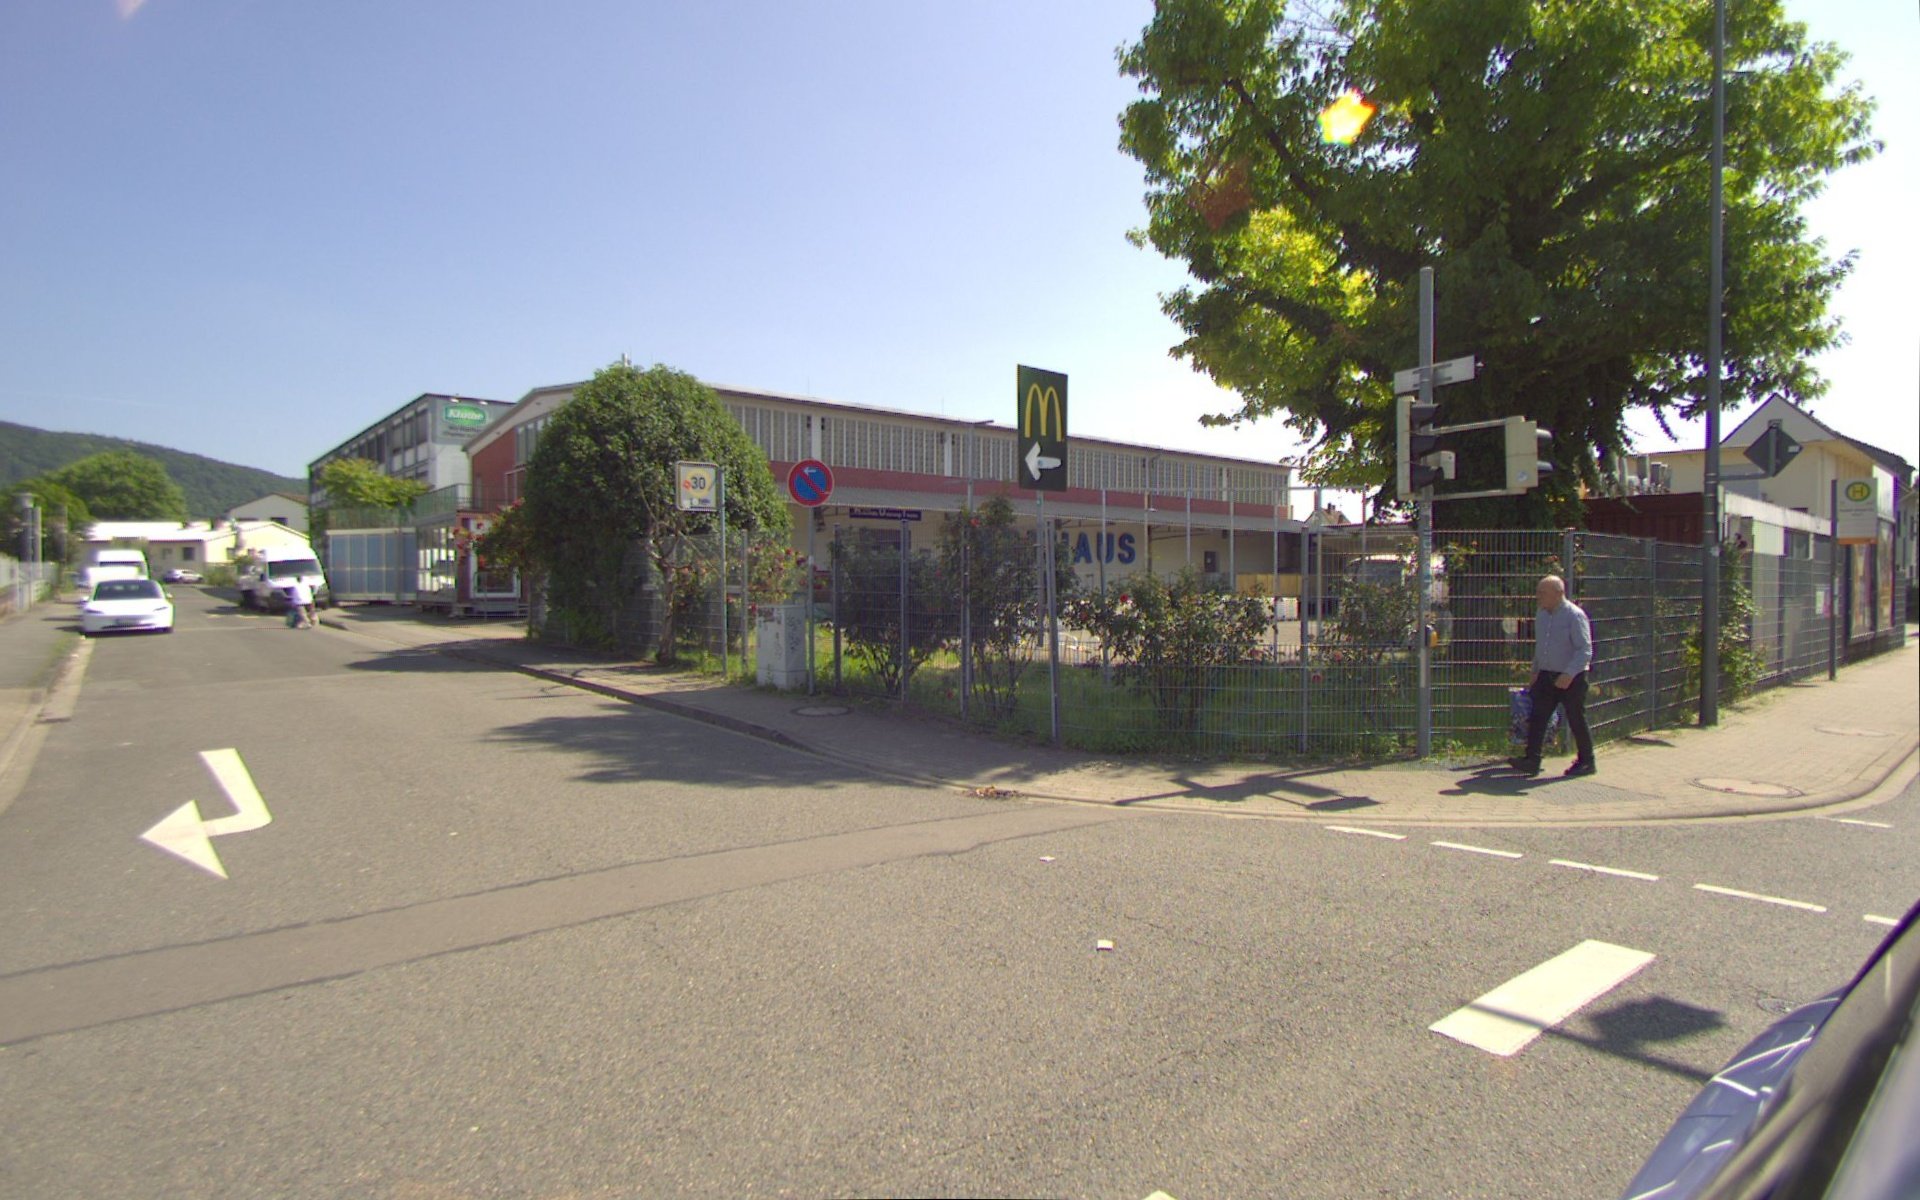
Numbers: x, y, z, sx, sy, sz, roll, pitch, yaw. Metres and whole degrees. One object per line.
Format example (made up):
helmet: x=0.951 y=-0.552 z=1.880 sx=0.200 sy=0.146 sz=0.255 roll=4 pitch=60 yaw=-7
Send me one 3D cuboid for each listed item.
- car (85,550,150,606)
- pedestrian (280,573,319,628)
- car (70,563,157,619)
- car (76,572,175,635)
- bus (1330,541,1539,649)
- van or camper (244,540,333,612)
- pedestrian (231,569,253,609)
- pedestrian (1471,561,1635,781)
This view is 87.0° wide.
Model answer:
car: x=-40.683 y=-1.049 z=48.968 sx=2.072 sy=2.558 sz=5.604 roll=0 pitch=1 yaw=-37
pedestrian: x=-19.682 y=0.011 z=30.161 sx=0.868 sy=1.599 sz=0.789 roll=0 pitch=0 yaw=-40
car: x=-28.264 y=-0.322 z=33.913 sx=1.963 sy=1.761 sz=4.297 roll=0 pitch=1 yaw=-37
car: x=-22.621 y=0.057 z=27.564 sx=1.858 sy=1.571 sz=3.999 roll=0 pitch=1 yaw=-37
bus: x=16.408 y=-0.363 z=34.474 sx=10.091 sy=3.210 sz=2.570 roll=-3 pitch=3 yaw=-41
van or camper: x=-27.355 y=-0.954 z=41.105 sx=2.305 sy=2.713 sz=6.734 roll=0 pitch=1 yaw=-40
pedestrian: x=-30.878 y=-0.461 z=43.513 sx=0.697 sy=1.709 sz=0.652 roll=0 pitch=0 yaw=-41
pedestrian: x=4.957 y=0.544 z=8.481 sx=0.869 sy=1.720 sz=0.816 roll=1 pitch=1 yaw=-28
